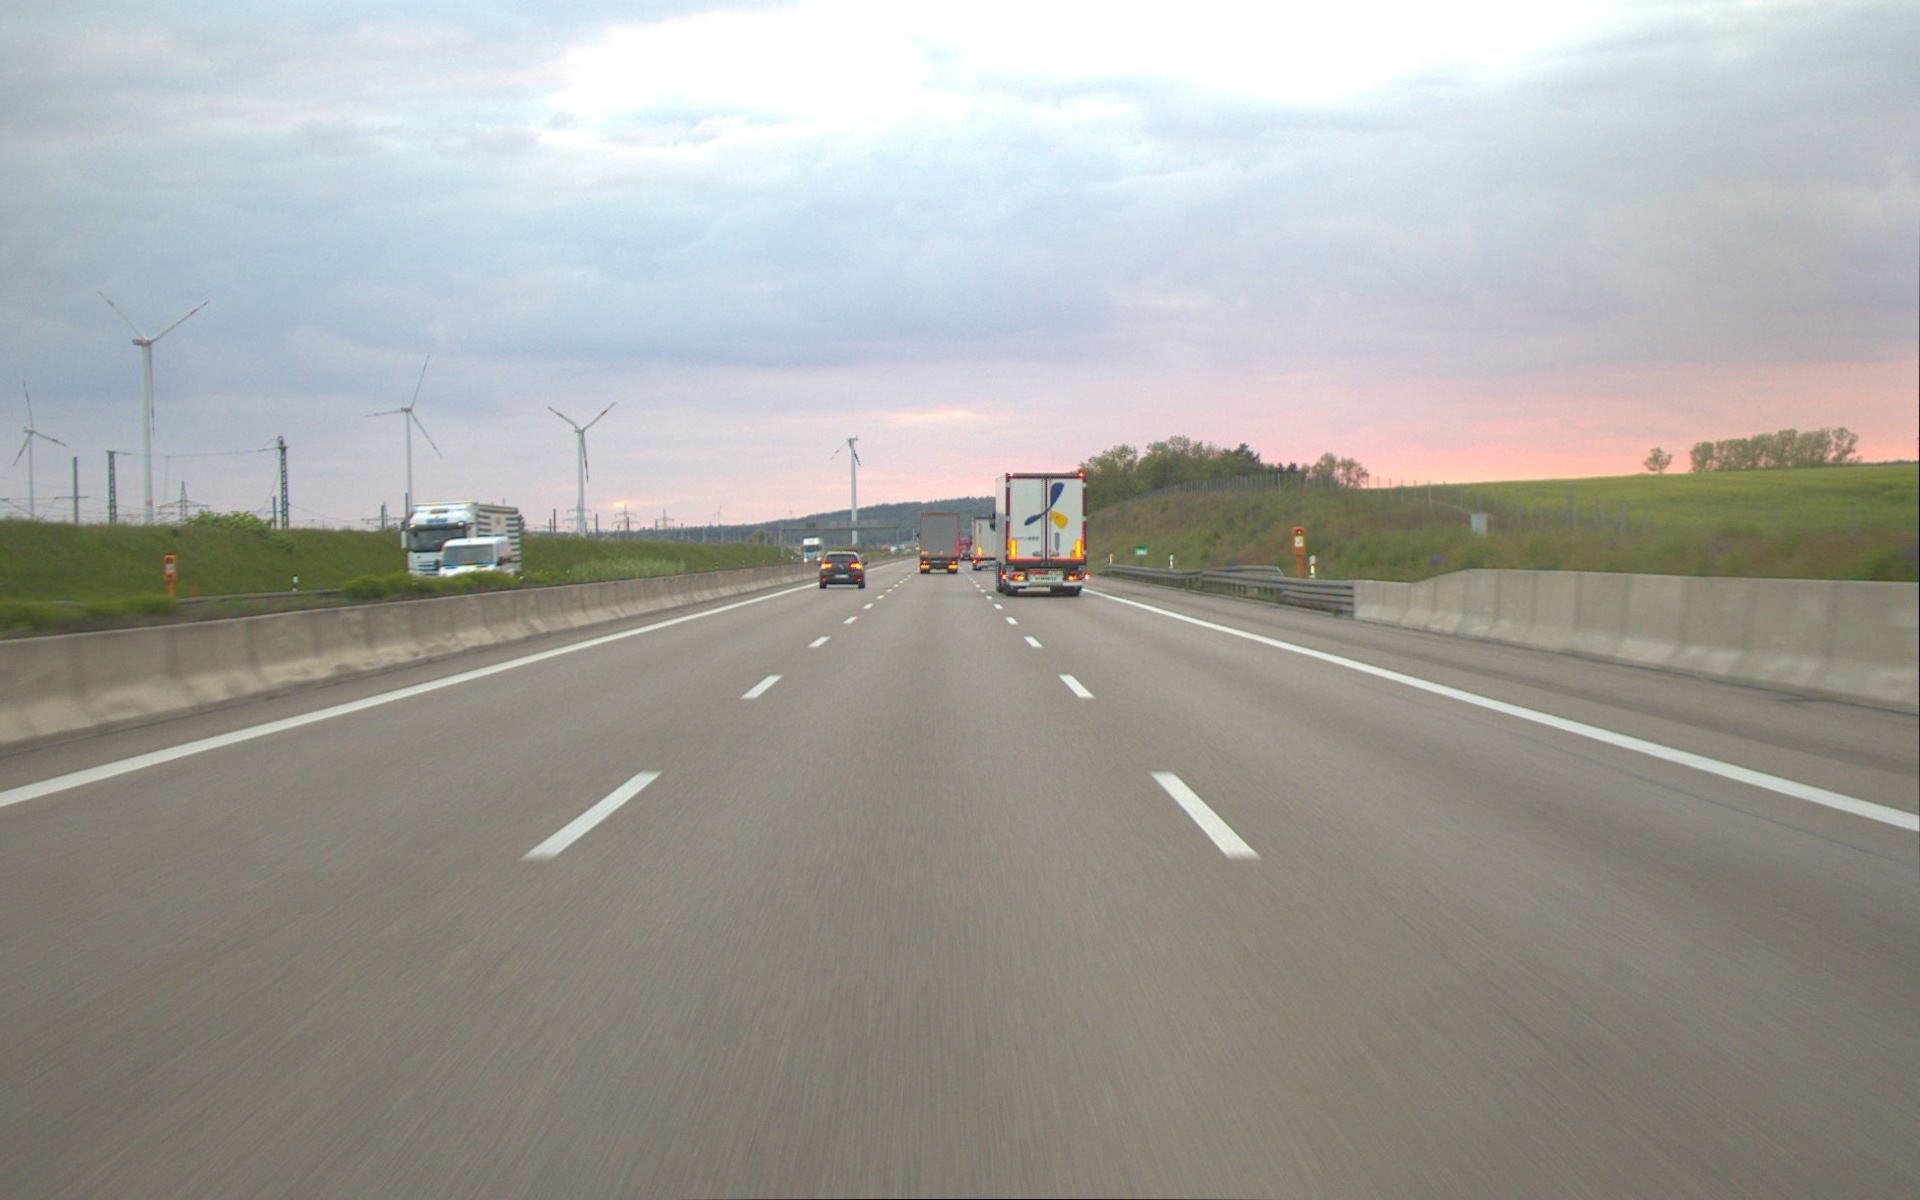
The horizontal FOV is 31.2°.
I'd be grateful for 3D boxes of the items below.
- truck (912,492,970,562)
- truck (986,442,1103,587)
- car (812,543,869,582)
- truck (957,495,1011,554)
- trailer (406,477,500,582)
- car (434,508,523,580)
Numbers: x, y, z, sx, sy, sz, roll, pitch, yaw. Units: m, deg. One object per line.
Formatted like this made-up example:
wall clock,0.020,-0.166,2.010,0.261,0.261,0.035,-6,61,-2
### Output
truck,-1.278,-4.778,225.984,3.647,4.399,8.636,-1,1,0
truck,2.759,-2.826,115.127,3.675,4.549,10.981,-1,1,1
car,-4.687,-1.495,135.102,1.988,1.425,4.000,-1,1,1
truck,1.854,-5.734,262.618,3.966,4.399,8.636,-1,1,1
trailer,-20.726,-2.873,140.822,2.686,4.100,6.939,-2,1,0
car,-16.442,-1.903,117.715,2.127,2.336,6.493,-2,1,0
